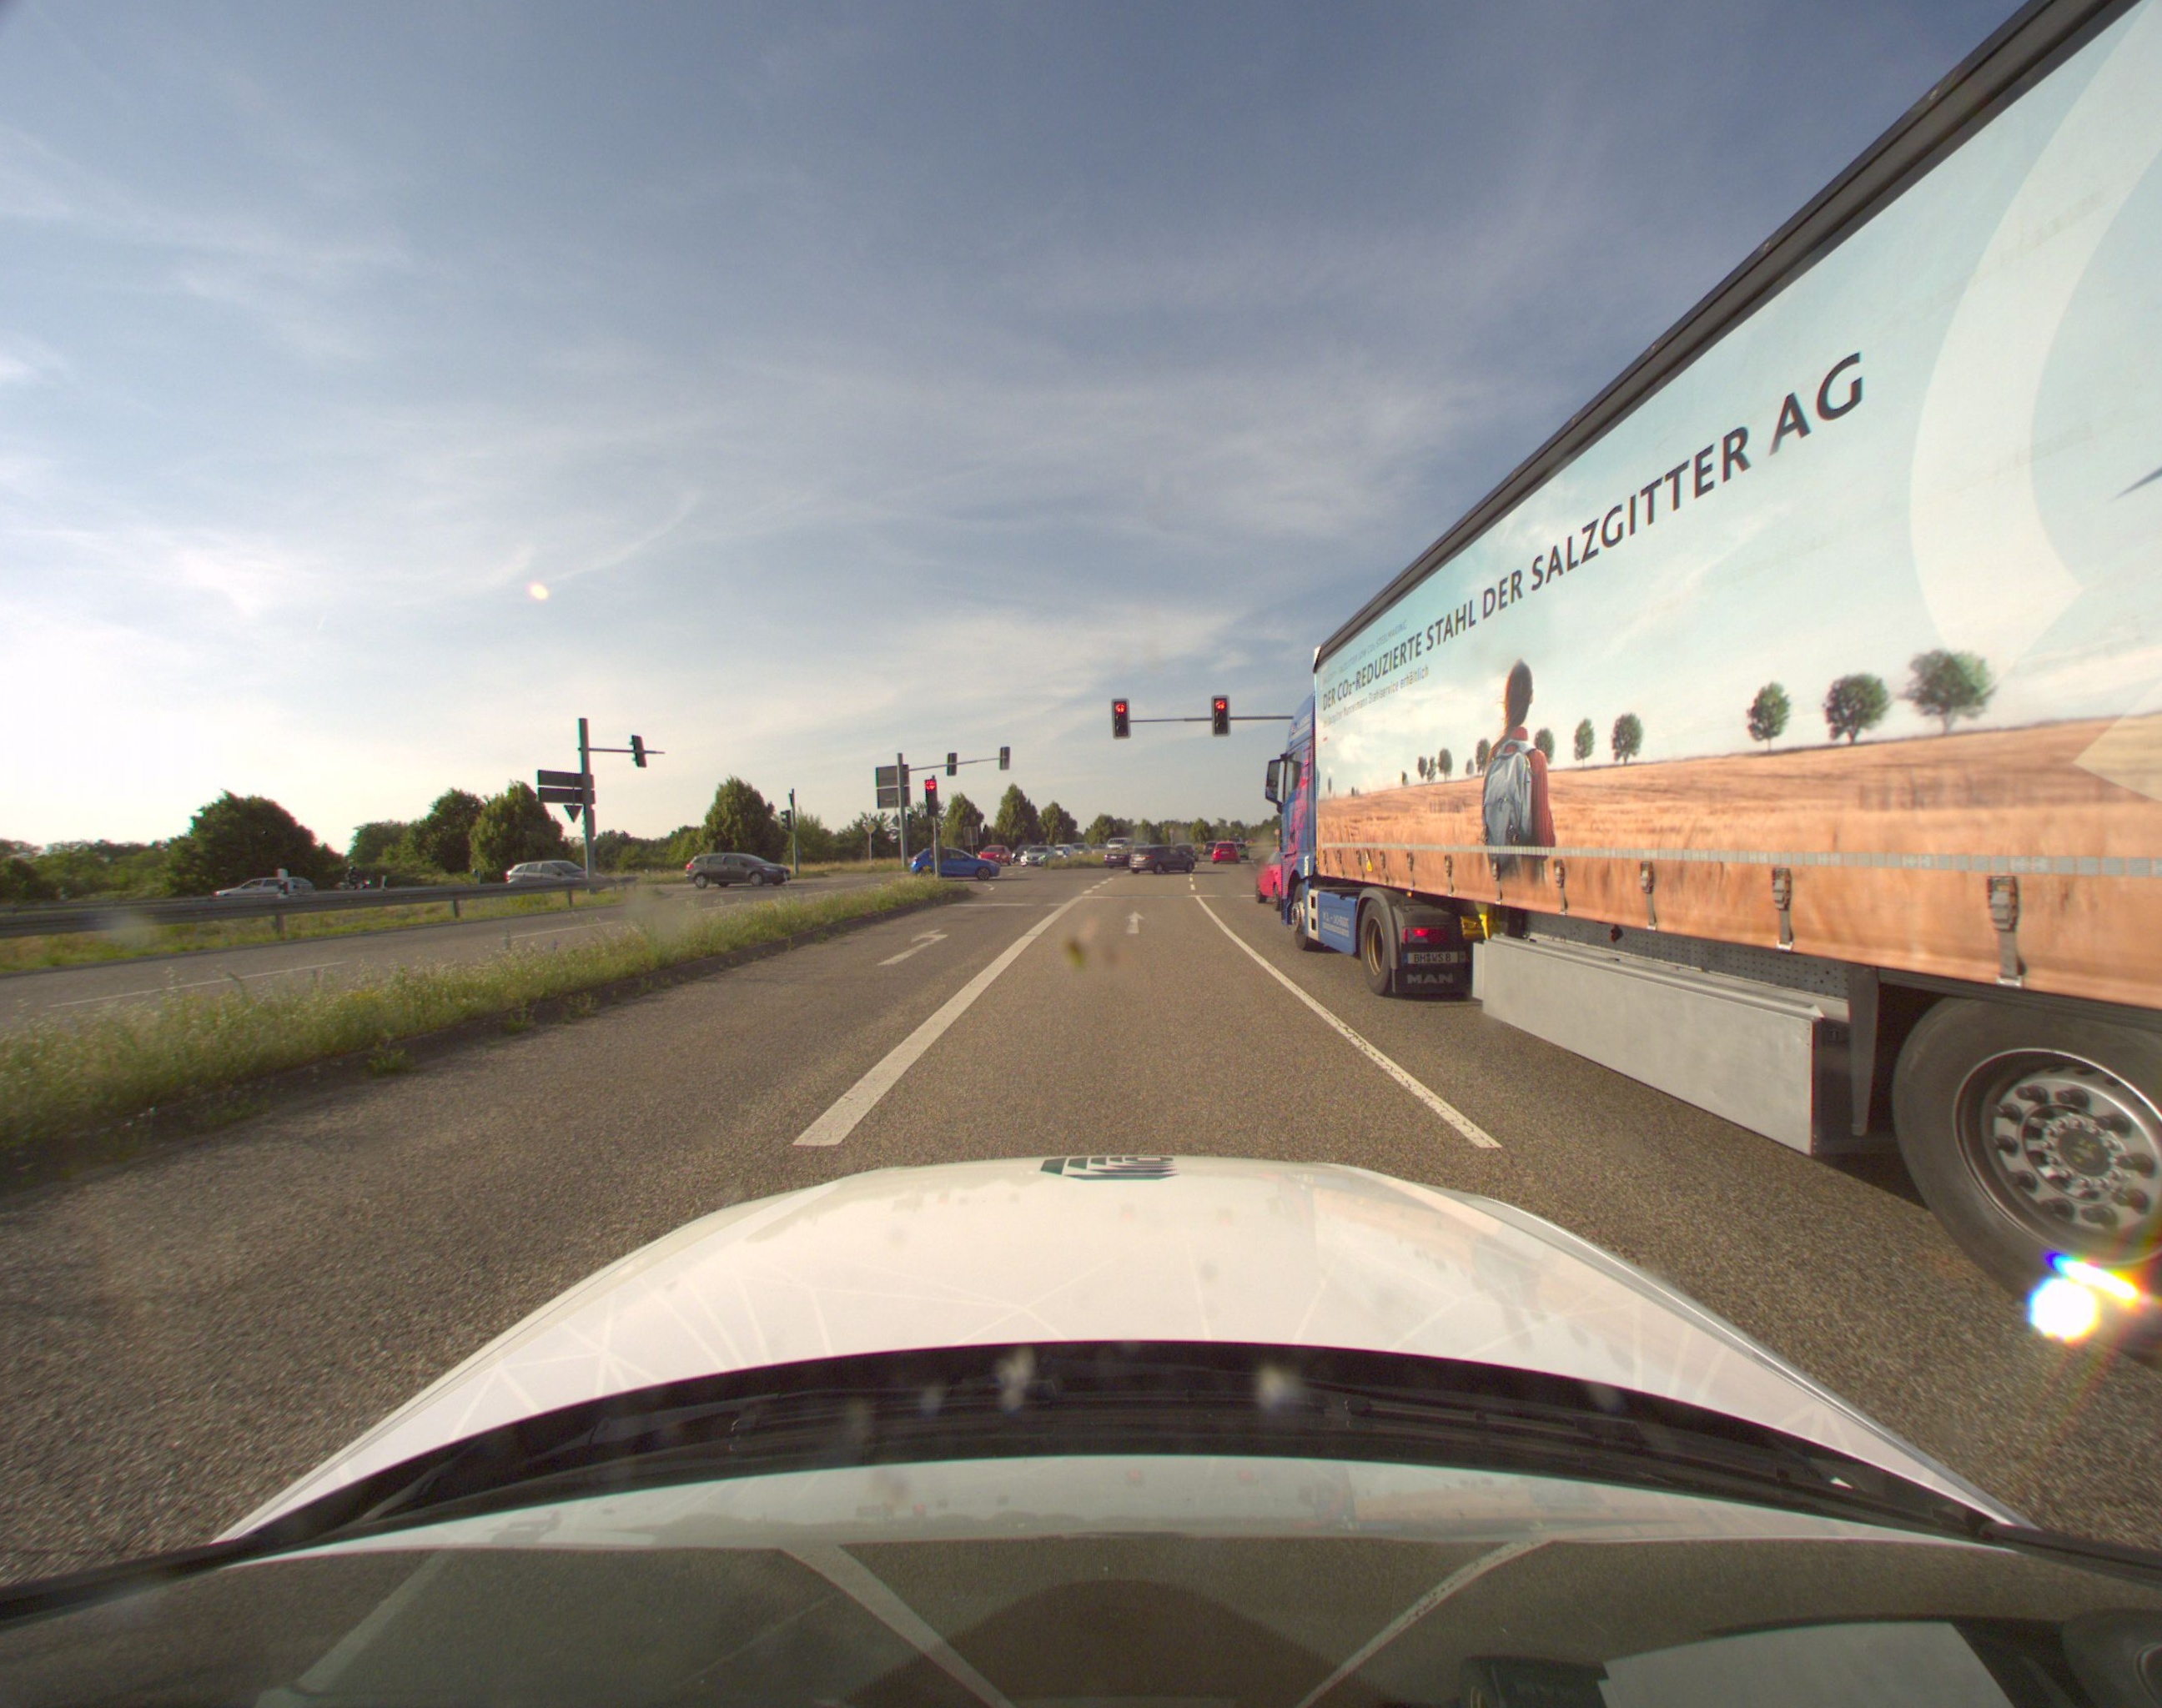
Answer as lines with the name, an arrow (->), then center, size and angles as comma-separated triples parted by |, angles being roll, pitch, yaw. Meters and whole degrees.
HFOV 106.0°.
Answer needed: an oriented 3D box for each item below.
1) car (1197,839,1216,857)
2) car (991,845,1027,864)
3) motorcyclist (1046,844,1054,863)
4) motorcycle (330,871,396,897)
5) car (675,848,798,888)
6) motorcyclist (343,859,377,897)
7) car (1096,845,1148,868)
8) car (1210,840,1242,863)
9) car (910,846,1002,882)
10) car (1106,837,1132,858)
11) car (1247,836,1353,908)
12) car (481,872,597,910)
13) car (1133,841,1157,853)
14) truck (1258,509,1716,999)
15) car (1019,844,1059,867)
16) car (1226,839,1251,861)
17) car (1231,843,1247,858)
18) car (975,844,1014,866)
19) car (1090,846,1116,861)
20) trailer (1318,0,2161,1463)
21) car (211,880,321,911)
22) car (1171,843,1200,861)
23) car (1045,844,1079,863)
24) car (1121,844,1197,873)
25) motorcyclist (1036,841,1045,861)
car -> 13.652, -0.639, 88.571 | 1.898, 1.915, 4.288 | -1, -1, 8
car -> -5.680, 0.032, 64.515 | 1.775, 1.433, 4.063 | -2, 0, 10
motorcyclist -> -2.901, -0.041, 76.680 | 0.659, 1.817, 0.606 | -2, 0, 3
motorcycle -> -34.161, 1.426, 38.774 | 2.160, 1.124, 0.939 | -1, 0, -5
car -> -14.750, 0.581, 35.008 | 4.493, 1.565, 1.819 | -1, 0, 6
motorcyclist -> -34.300, 1.110, 38.753 | 0.828, 1.758, 0.905 | -1, 0, -5
car -> 2.584, 0.156, 50.152 | 1.892, 1.323, 4.300 | -1, -1, 21
car -> 10.468, -0.129, 58.455 | 1.881, 1.565, 4.295 | -1, -1, 15
car -> -5.601, 0.437, 36.614 | 3.971, 1.492, 1.773 | -1, 0, -9
car -> 4.036, -0.721, 86.514 | 1.911, 2.078, 4.259 | -2, 0, 14
car -> 5.225, 0.387, 19.875 | 1.690, 1.549, 3.753 | -2, 0, 3
car -> -24.646, 1.652, 37.130 | 4.162, 1.605, 1.793 | -1, -1, 5
car -> 7.695, -0.828, 97.497 | 1.771, 1.385, 4.072 | -2, 0, 20
truck -> 4.515, -0.964, 10.707 | 3.287, 4.657, 5.735 | -1, 0, 2
car -> -2.905, 0.053, 57.404 | 1.775, 1.488, 4.665 | -2, 0, 10
car -> 13.523, -0.295, 69.810 | 1.895, 1.800, 4.294 | -1, -1, 14
car -> 19.565, -0.407, 100.785 | 1.896, 1.734, 4.292 | -1, -1, 12
car -> -6.324, 0.057, 59.691 | 1.709, 1.488, 3.817 | -2, 0, 11
car -> 2.107, -0.071, 77.135 | 1.775, 1.385, 4.063 | -2, 0, 10
trailer -> 4.255, -0.903, 3.153 | 3.268, 4.681, 13.155 | -1, 0, 2
car -> -46.361, 2.348, 46.396 | 3.980, 1.540, 1.997 | -2, 0, -5
car -> 8.451, -0.147, 65.555 | 1.823, 1.377, 4.293 | -1, -1, 13
car -> -1.464, -0.075, 65.054 | 1.775, 1.433, 4.322 | -2, 0, 10
car -> 4.065, 0.238, 42.035 | 3.817, 1.416, 1.897 | 0, -1, -45
motorcyclist -> -3.538, -0.230, 71.795 | 0.659, 1.747, 0.606 | -2, 0, 3
